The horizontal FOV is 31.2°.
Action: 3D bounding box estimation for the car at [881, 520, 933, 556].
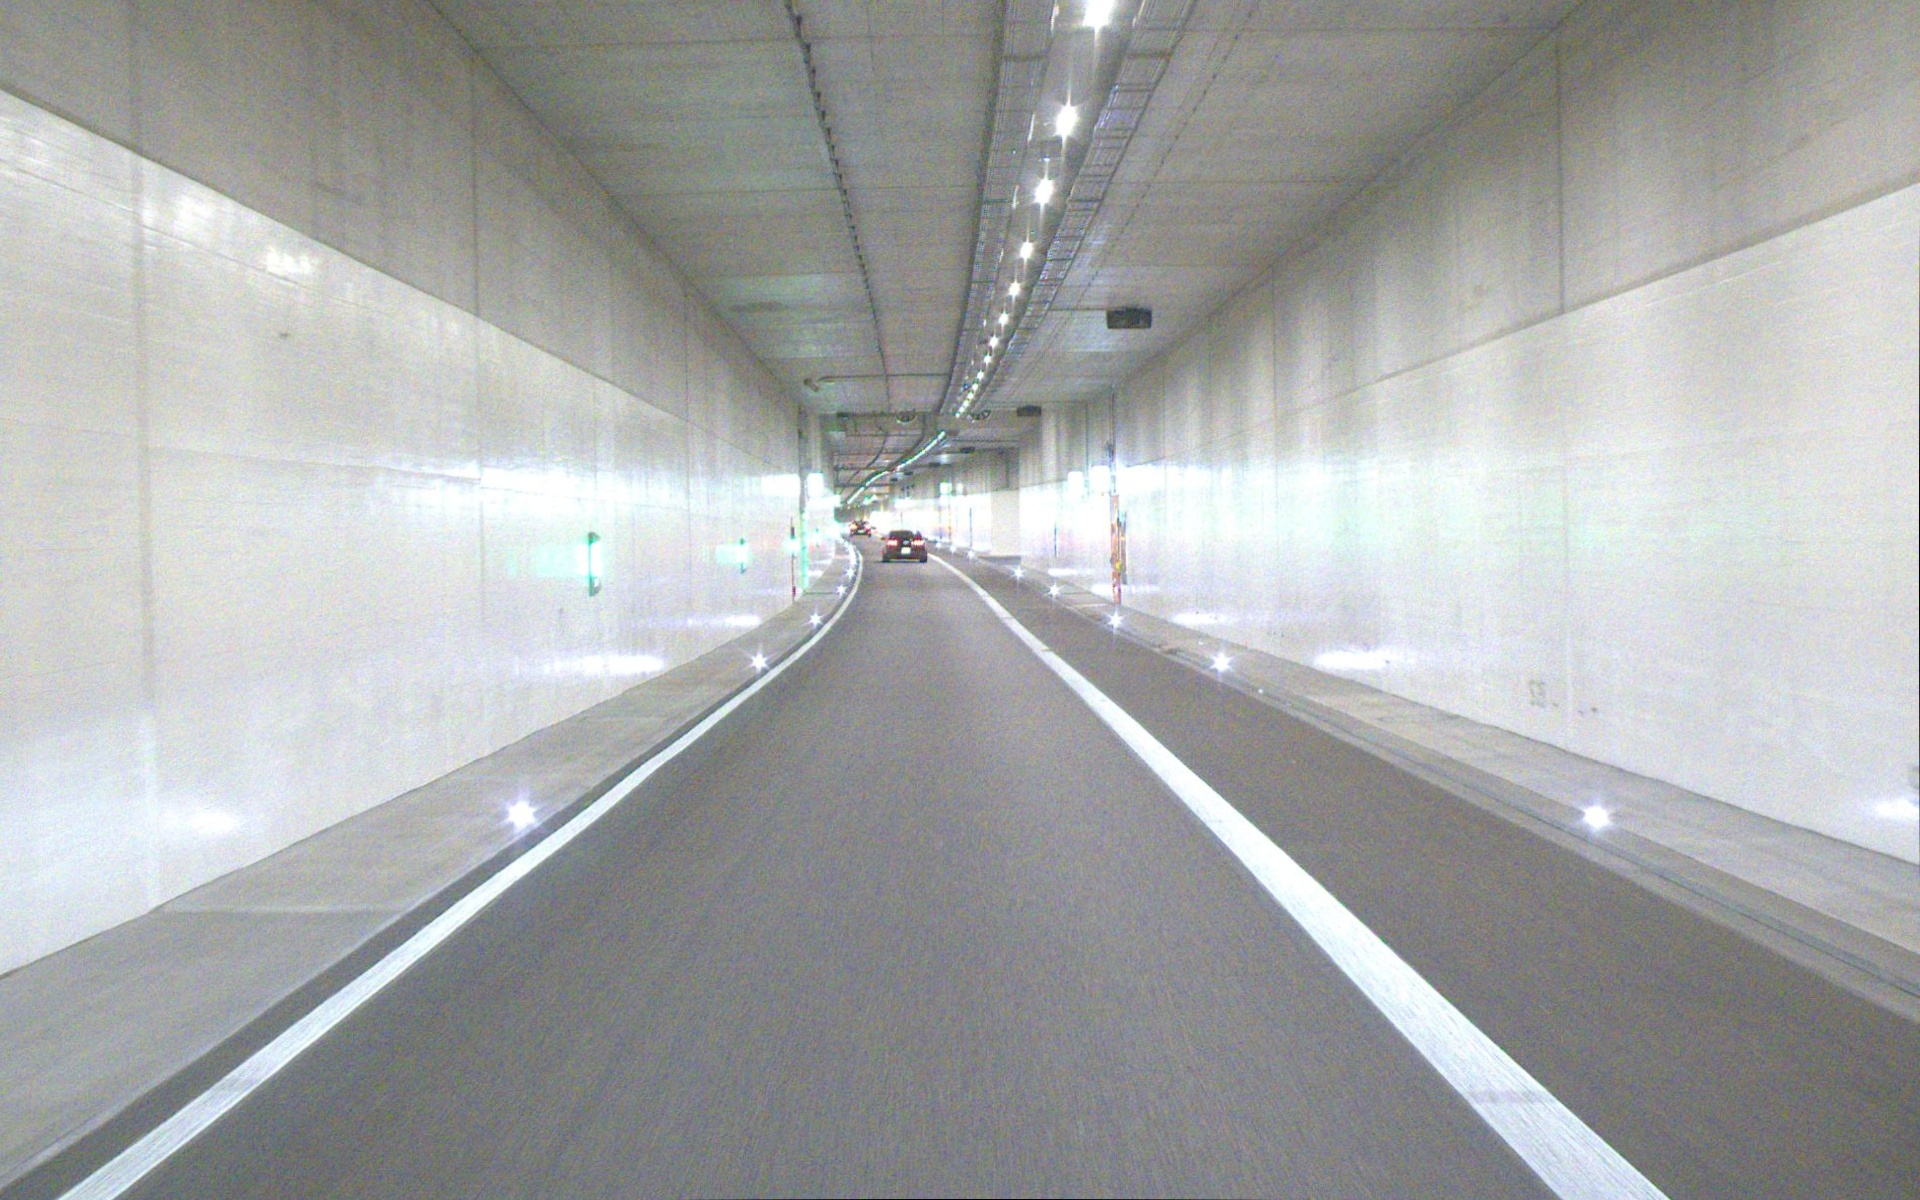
[{"bbox_3d":[-2.271,-2.644,145.915,1.993,1.415,4.001,2,1,-3],"label":"car"}]
